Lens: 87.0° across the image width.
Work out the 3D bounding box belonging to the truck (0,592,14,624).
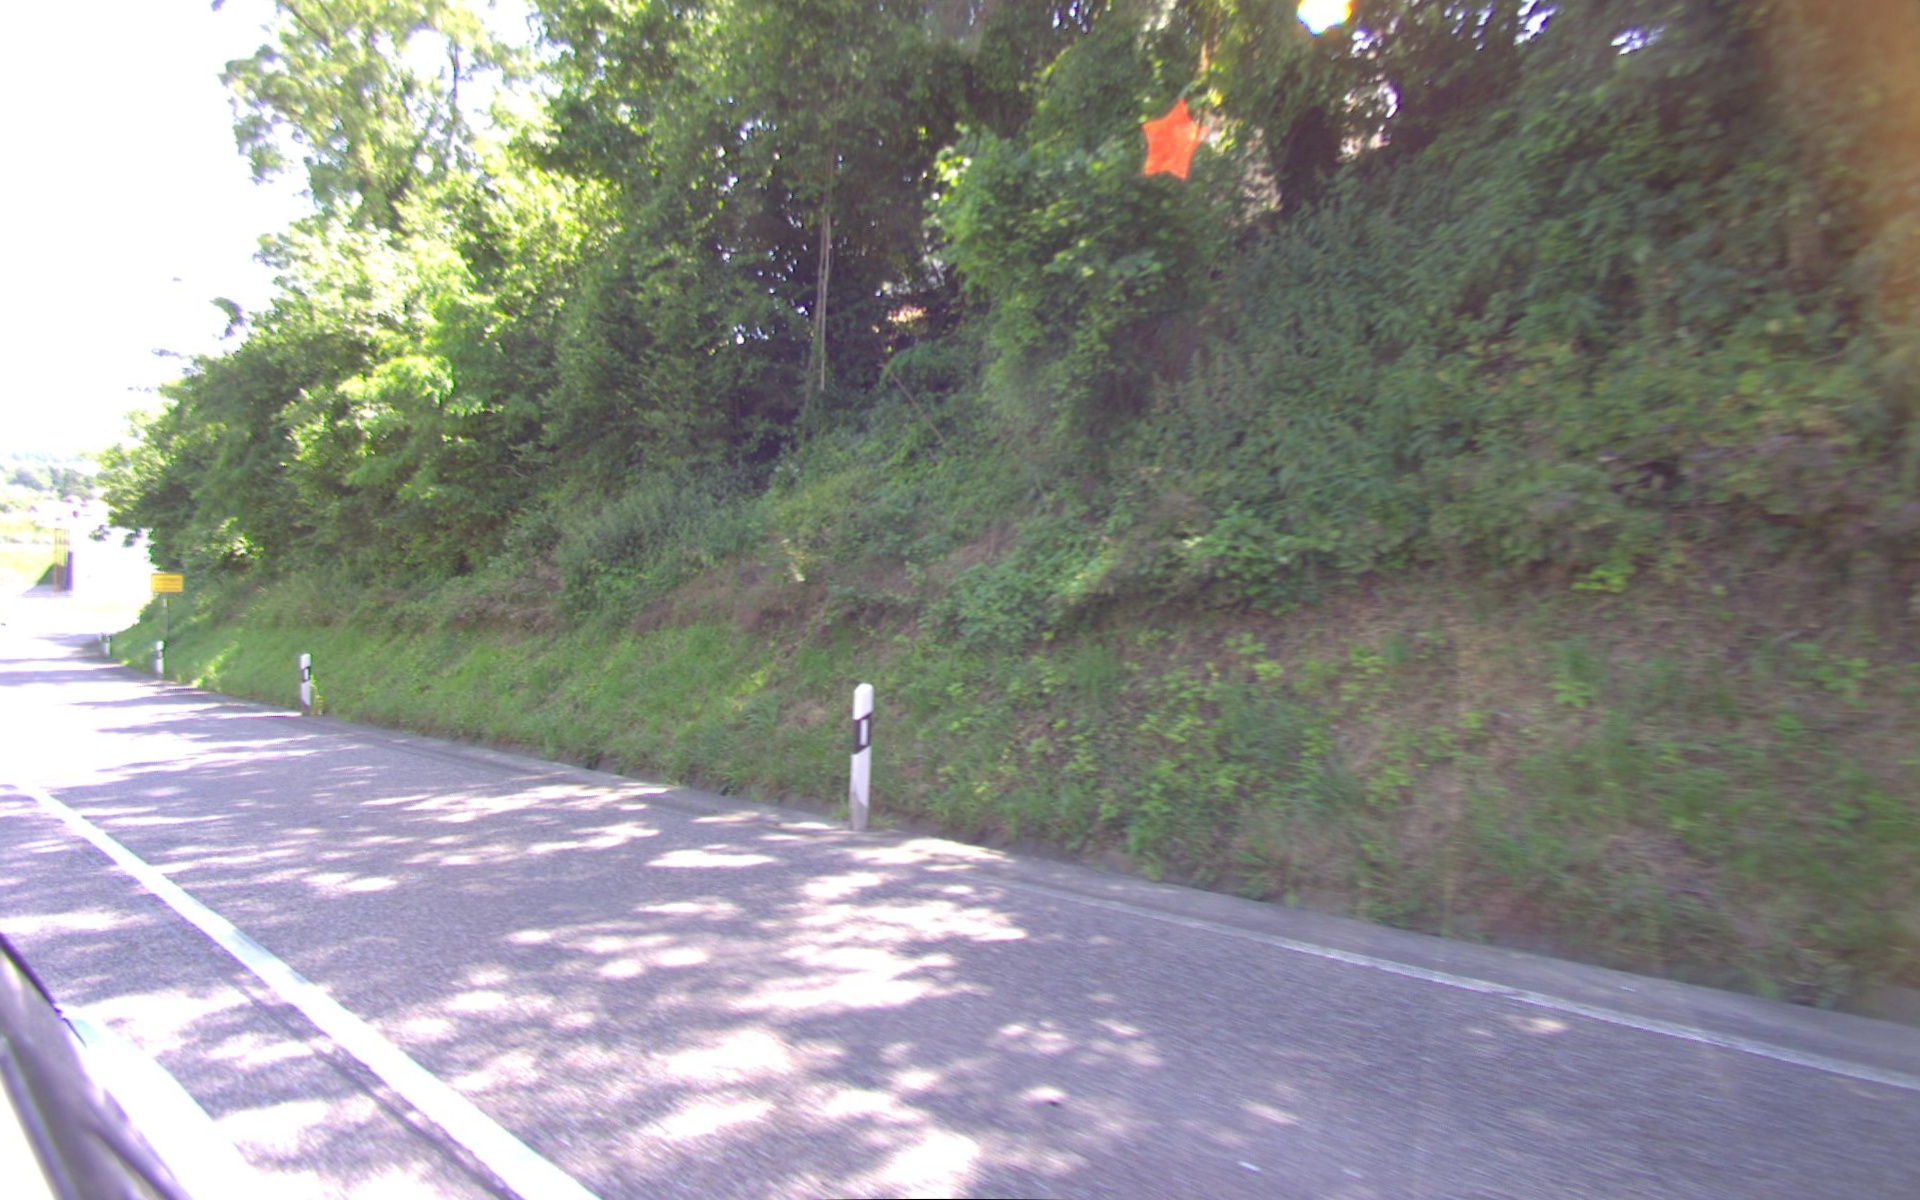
[{"bbox_3d":[-61.637,0.571,63.186,2.037,2.028,5.263,-1,2,-23],"label":"truck"}]
